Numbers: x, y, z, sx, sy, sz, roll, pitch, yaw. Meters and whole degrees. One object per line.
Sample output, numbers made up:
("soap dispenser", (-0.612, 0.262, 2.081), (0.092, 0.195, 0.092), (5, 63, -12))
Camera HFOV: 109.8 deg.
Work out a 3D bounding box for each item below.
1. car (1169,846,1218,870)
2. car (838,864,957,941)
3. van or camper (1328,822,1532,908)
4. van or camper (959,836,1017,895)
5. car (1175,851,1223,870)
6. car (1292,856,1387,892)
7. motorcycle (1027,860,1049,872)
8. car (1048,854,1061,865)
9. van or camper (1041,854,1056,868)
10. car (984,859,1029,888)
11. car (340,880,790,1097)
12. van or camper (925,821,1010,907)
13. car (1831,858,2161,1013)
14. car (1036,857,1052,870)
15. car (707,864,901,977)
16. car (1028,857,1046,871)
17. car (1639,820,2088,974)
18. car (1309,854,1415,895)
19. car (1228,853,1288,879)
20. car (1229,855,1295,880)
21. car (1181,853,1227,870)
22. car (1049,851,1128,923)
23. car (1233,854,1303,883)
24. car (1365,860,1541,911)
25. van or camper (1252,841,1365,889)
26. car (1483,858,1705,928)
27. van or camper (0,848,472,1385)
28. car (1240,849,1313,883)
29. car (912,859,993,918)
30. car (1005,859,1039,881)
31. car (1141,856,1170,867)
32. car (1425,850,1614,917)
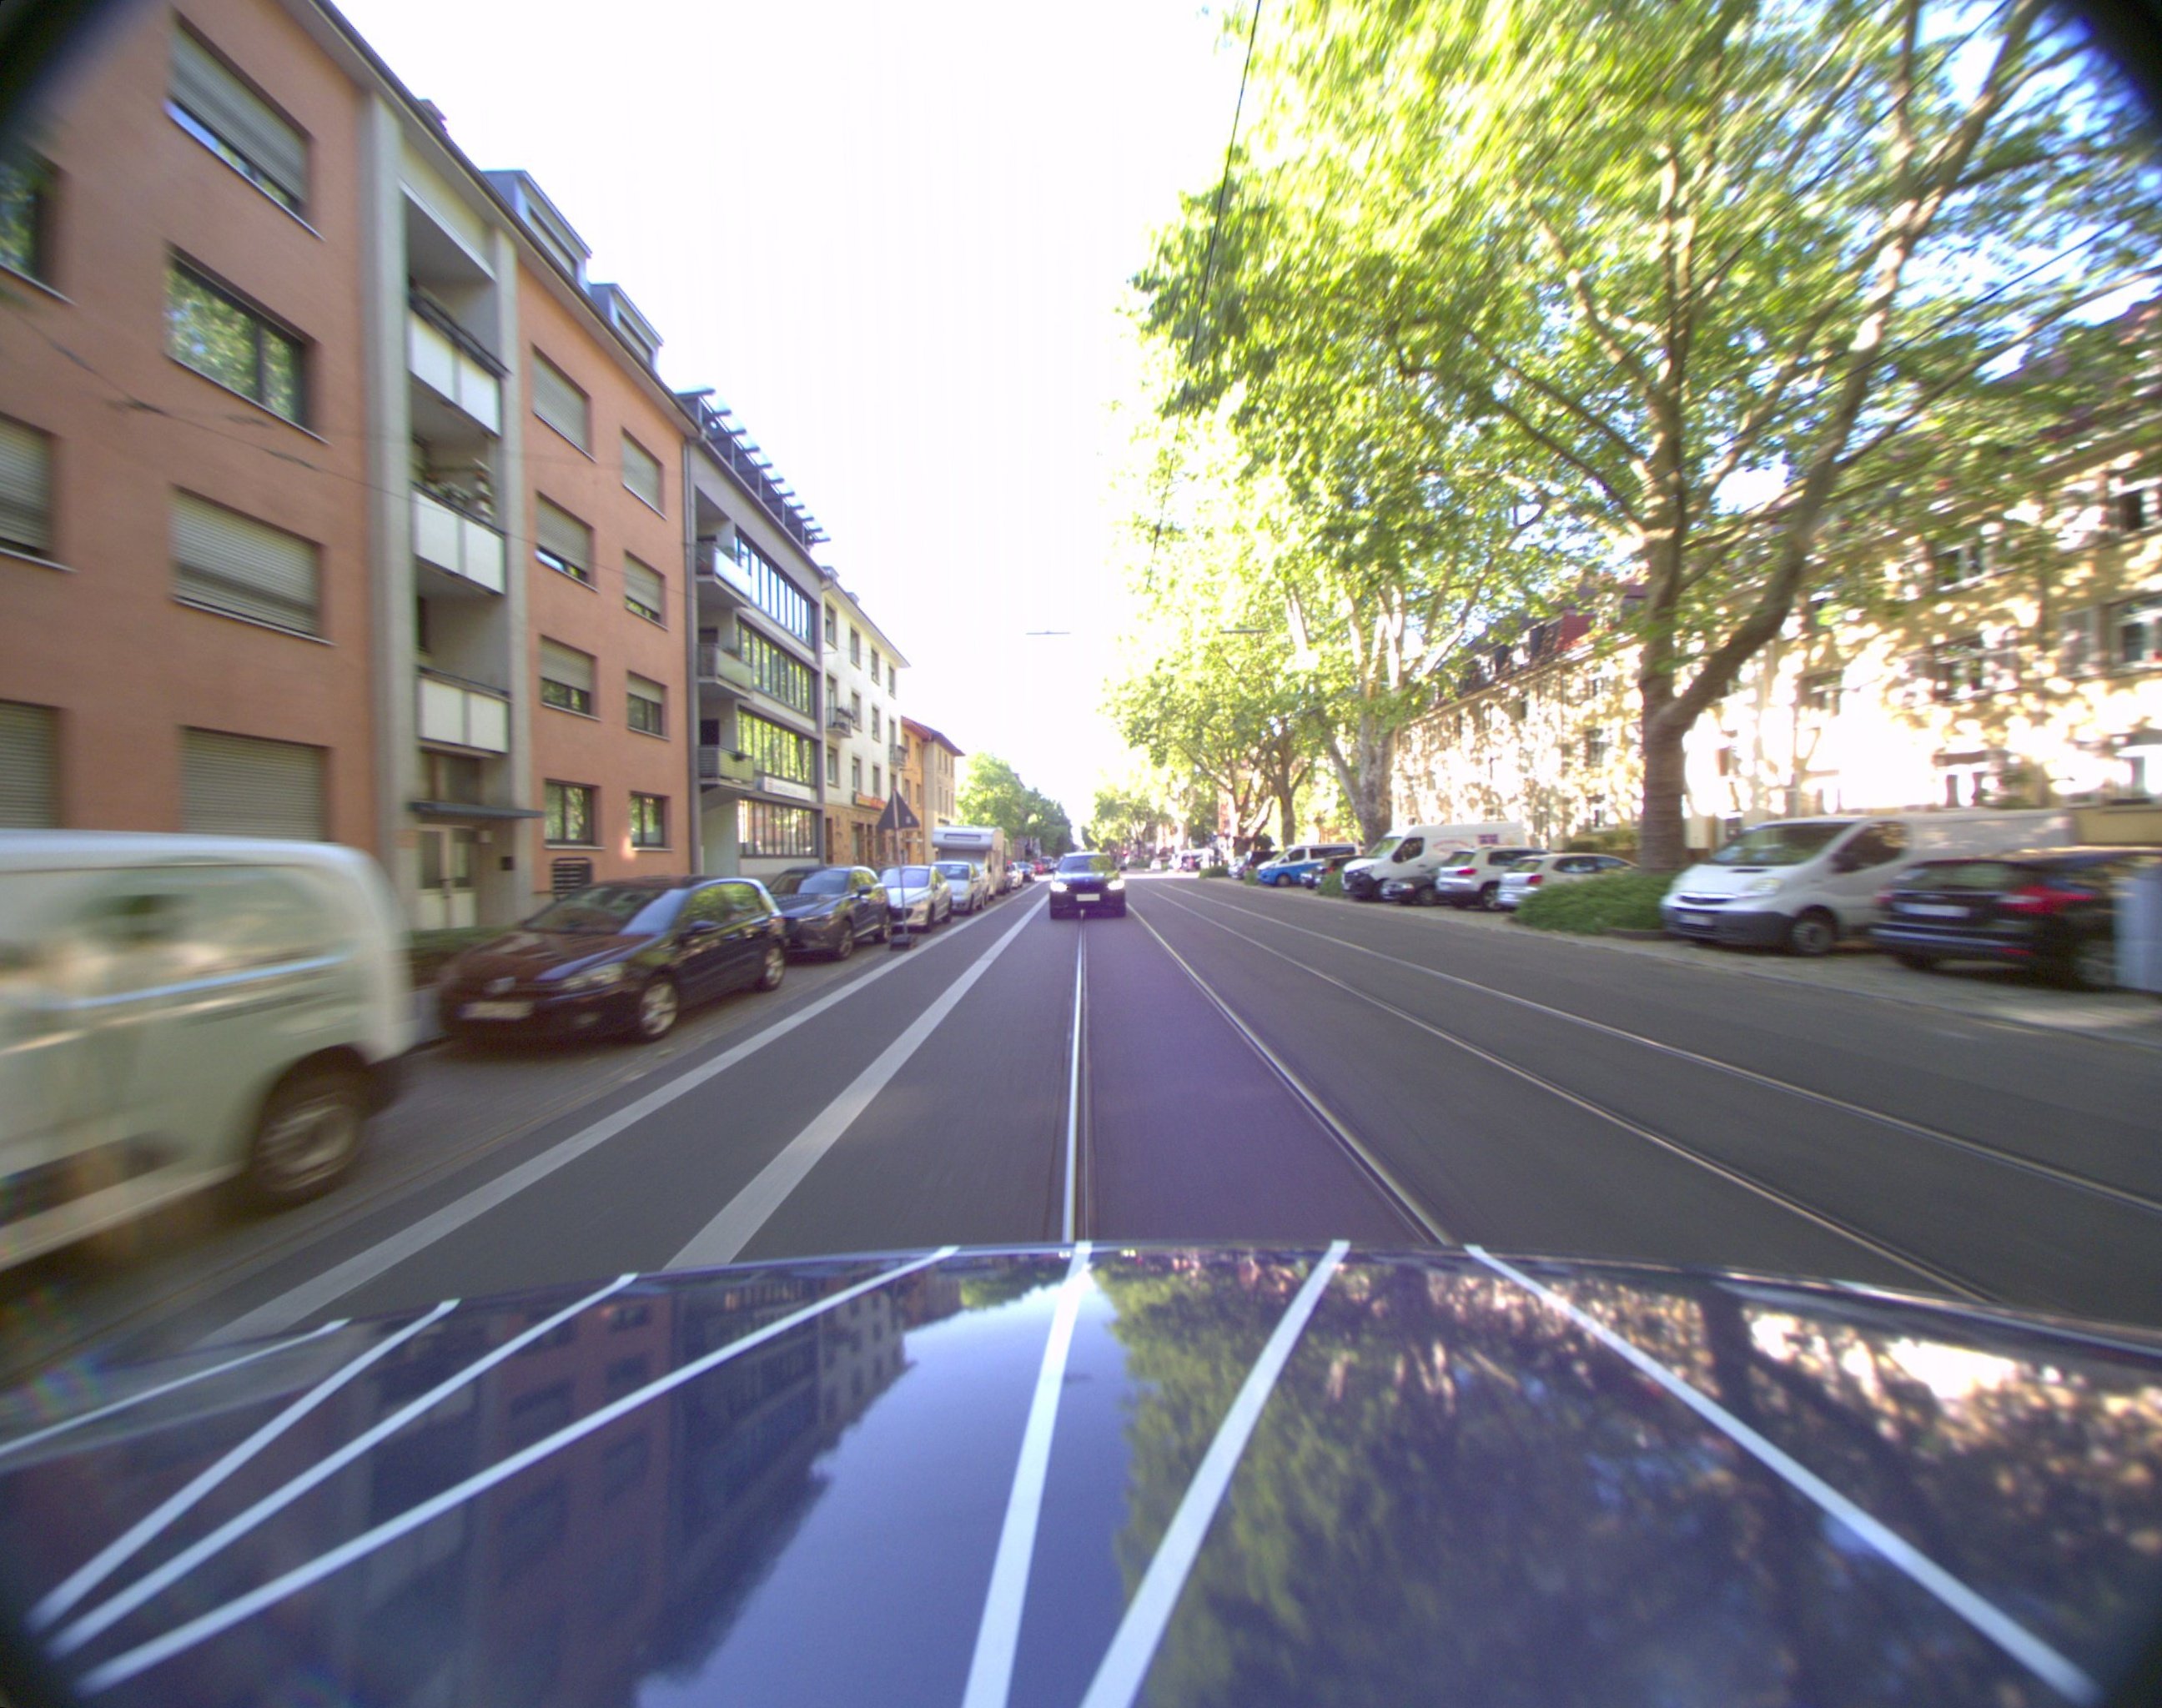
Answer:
("car", (12.255, 0.452, 82.945), (5.019, 2.383, 2.028), (-2, 0, -1))
("car", (-4.159, 1.036, 17.918), (1.793, 1.513, 4.321), (1, 0, -1))
("van or camper", (11.104, 0.341, 24.506), (5.403, 2.501, 2.445), (-2, 0, 0))
("van or camper", (-4.386, 0.522, 36.612), (2.138, 2.647, 4.979), (1, 0, 0))
("car", (11.914, 0.640, 77.099), (4.464, 1.755, 2.028), (-2, 0, -1))
("car", (11.337, 0.848, 33.423), (3.540, 1.451, 1.695), (-2, 0, -6))
("motorcycle", (-4.322, 1.208, 76.158), (2.071, 1.152, 0.828), (2, 1, 4))
("car", (-4.157, 0.832, 119.297), (1.815, 1.701, 4.372), (1, 0, 0))
("van or camper", (-4.408, 0.930, 103.747), (1.882, 1.873, 4.923), (1, 0, 0))
("car", (-4.191, 1.083, 43.397), (1.998, 1.485, 4.740), (1, 0, 1))
("car", (-4.647, 1.078, 7.749), (1.710, 1.464, 4.168), (0, 0, 0))
("van or camper", (-4.339, 0.363, 30.179), (2.468, 3.046, 6.267), (1, 0, -1))
("car", (11.154, 0.809, 8.406), (3.857, 1.489, 1.862), (0, 0, 1))
("car", (-4.294, 1.093, 88.916), (1.694, 1.478, 4.143), (1, 0, 0))
("car", (-4.560, 0.998, 13.263), (1.772, 1.563, 4.337), (1, 0, 0))
("car", (-4.620, 1.040, 79.733), (1.607, 1.372, 3.864), (1, 0, 0))
("car", (11.202, 0.566, 11.126), (4.669, 1.934, 1.961), (-2, 0, -3))
("car", (11.357, 0.817, 30.910), (3.691, 1.556, 1.613), (-2, 0, 2))
("car", (11.741, 0.787, 50.504), (3.689, 1.545, 1.704), (-2, 0, 6))
("car", (11.433, 0.850, 48.116), (3.693, 1.477, 1.701), (-2, 0, -6))
("car", (12.027, 0.741, 74.449), (4.171, 1.506, 1.925), (-2, -1, -1))
("car", (0.198, 0.820, 21.287), (1.924, 1.741, 4.806), (-2, 0, 0))
("car", (11.284, 0.855, 45.973), (3.693, 1.615, 1.799), (-2, 0, -4))
("car", (10.688, 0.881, 22.045), (4.274, 1.390, 1.753), (0, 0, 1))
("van or camper", (11.056, 0.534, 37.191), (4.832, 2.177, 2.119), (-2, 0, 0))
("car", (11.680, 0.861, 17.504), (3.857, 1.489, 1.862), (0, 0, 1))
("van or camper", (-4.612, 0.911, 2.242), (1.759, 1.853, 4.830), (0, 0, -1))
("car", (11.182, 0.691, 43.622), (3.691, 1.804, 1.704), (-2, 0, 0))
("car", (-3.928, 1.004, 23.901), (1.797, 1.618, 4.276), (1, 0, 0))
("car", (-4.107, 1.077, 53.359), (1.998, 1.372, 4.739), (1, 0, 0))
("car", (11.018, 1.118, 112.429), (3.966, 1.506, 1.810), (-2, -1, -1))
("car", (11.310, 0.737, 19.802), (3.857, 1.653, 1.862), (0, 0, 1))
